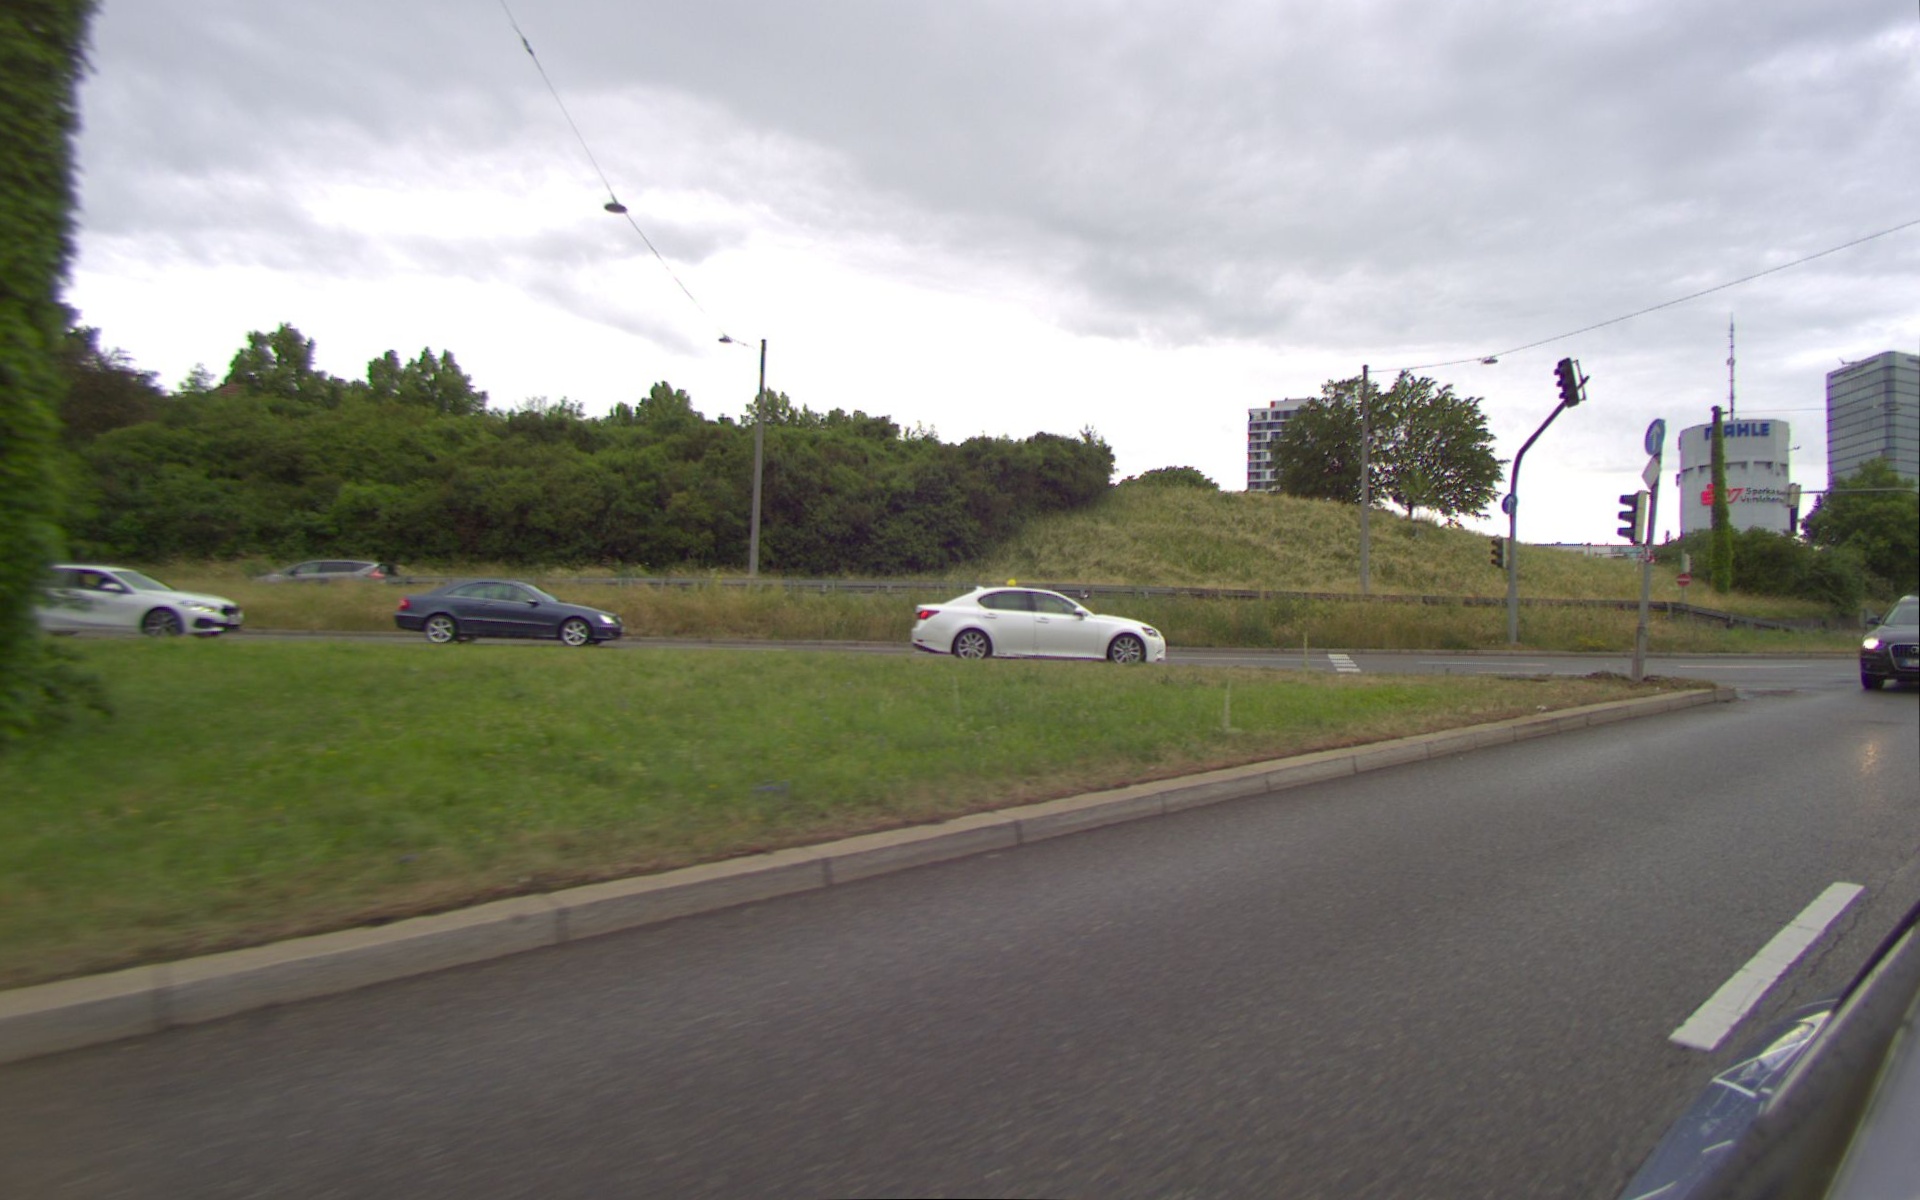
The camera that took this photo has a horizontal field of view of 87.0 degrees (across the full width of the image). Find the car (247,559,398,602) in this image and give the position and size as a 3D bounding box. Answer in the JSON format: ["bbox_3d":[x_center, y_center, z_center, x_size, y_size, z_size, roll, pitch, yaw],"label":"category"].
[{"bbox_3d":[-22.399,-0.685,35.674,4.141,1.367,1.785,-1,-2,-7],"label":"car"}]

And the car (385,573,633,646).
[{"bbox_3d":[-9.477,0.216,21.602,4.461,1.368,1.845,2,-1,-6],"label":"car"}]

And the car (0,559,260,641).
[{"bbox_3d":[-16.876,0.005,20.264,4.182,1.447,2.079,2,-1,-13],"label":"car"}]

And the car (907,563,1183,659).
[{"bbox_3d":[1.476,0.194,18.936,4.894,1.666,2.076,0,0,-1],"label":"car"}]

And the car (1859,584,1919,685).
[{"bbox_3d":[17.184,0.560,17.322,4.200,1.621,1.928,0,0,-38],"label":"car"}]
